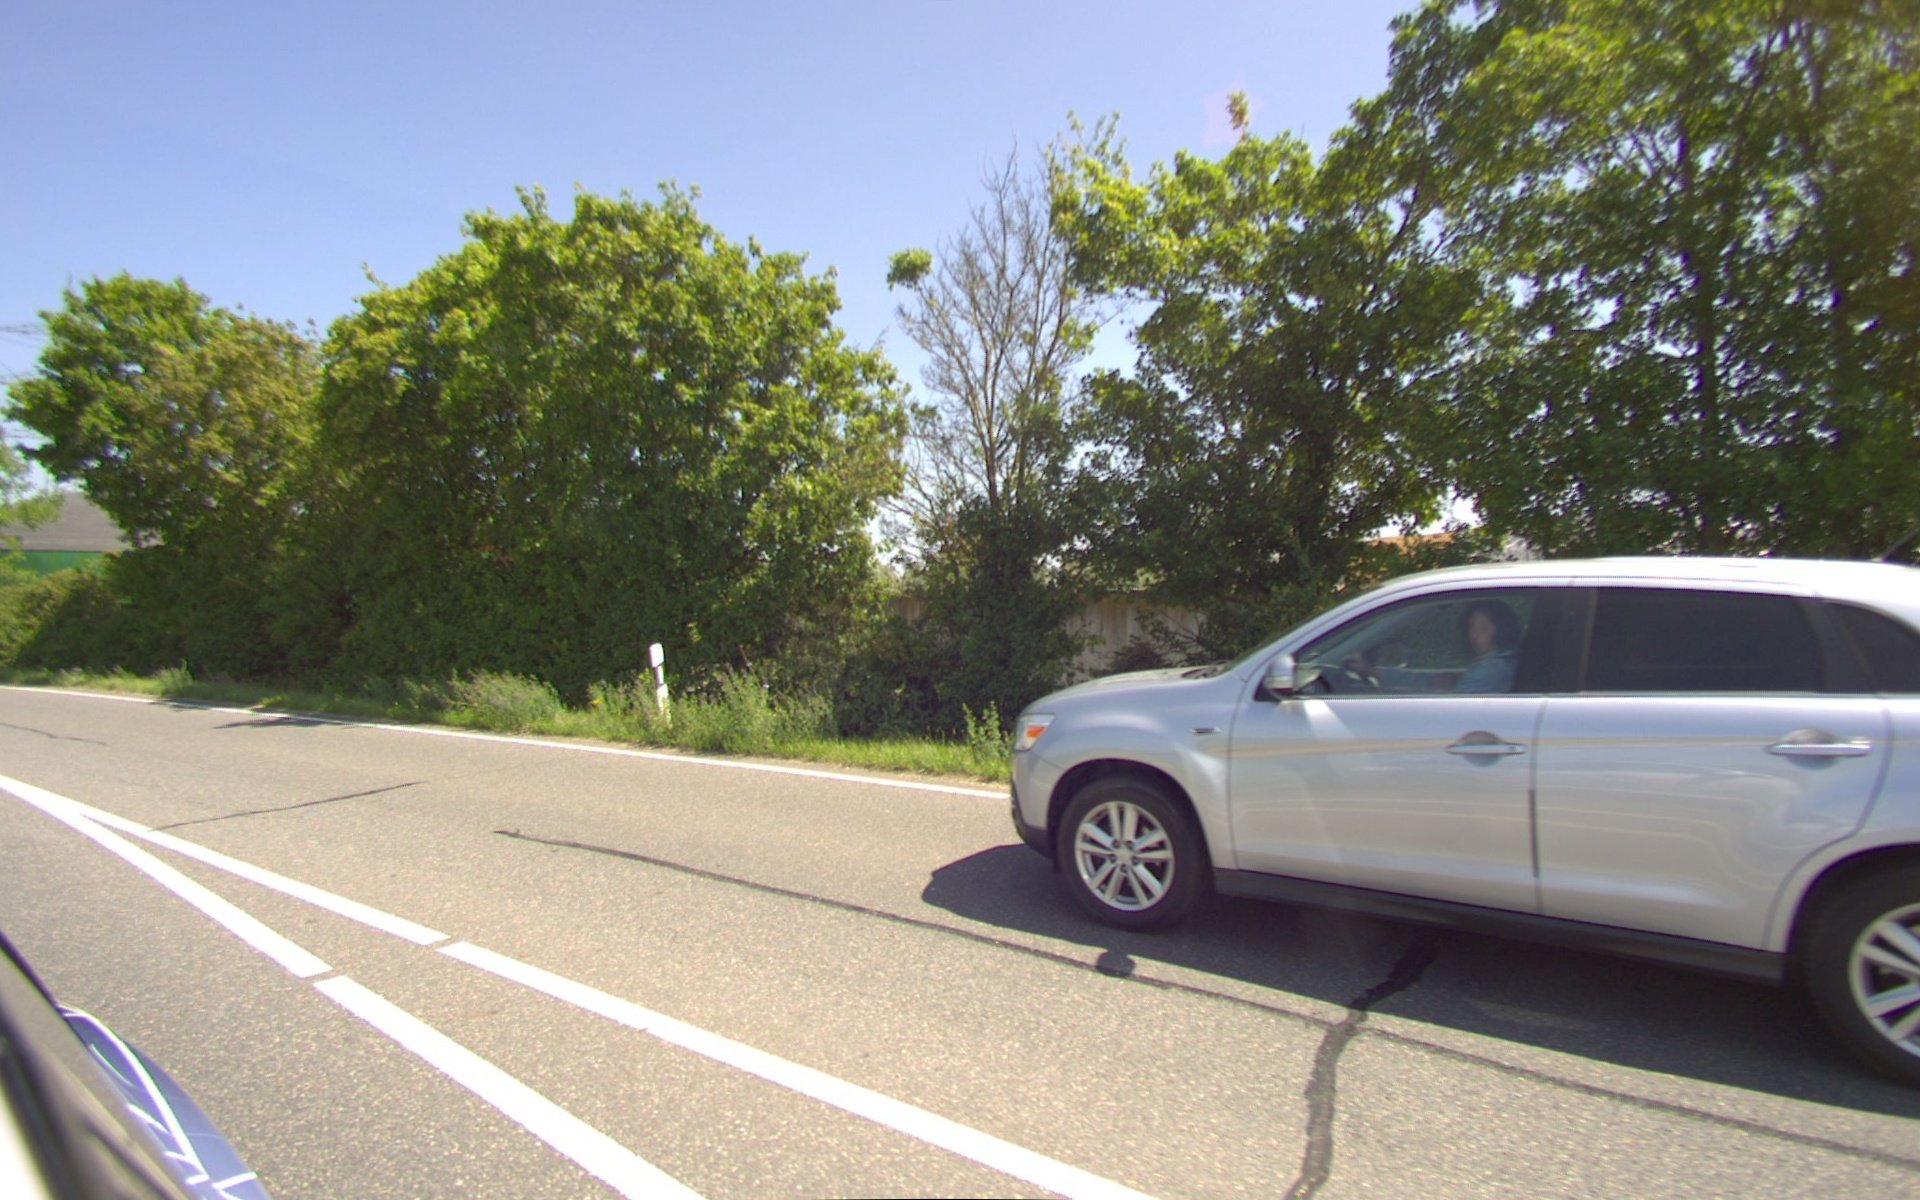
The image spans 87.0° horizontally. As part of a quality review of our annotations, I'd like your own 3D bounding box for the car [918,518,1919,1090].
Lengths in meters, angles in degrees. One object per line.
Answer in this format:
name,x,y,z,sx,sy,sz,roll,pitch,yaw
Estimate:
car,2.143,0.574,4.270,4.520,1.601,1.726,-1,0,35
